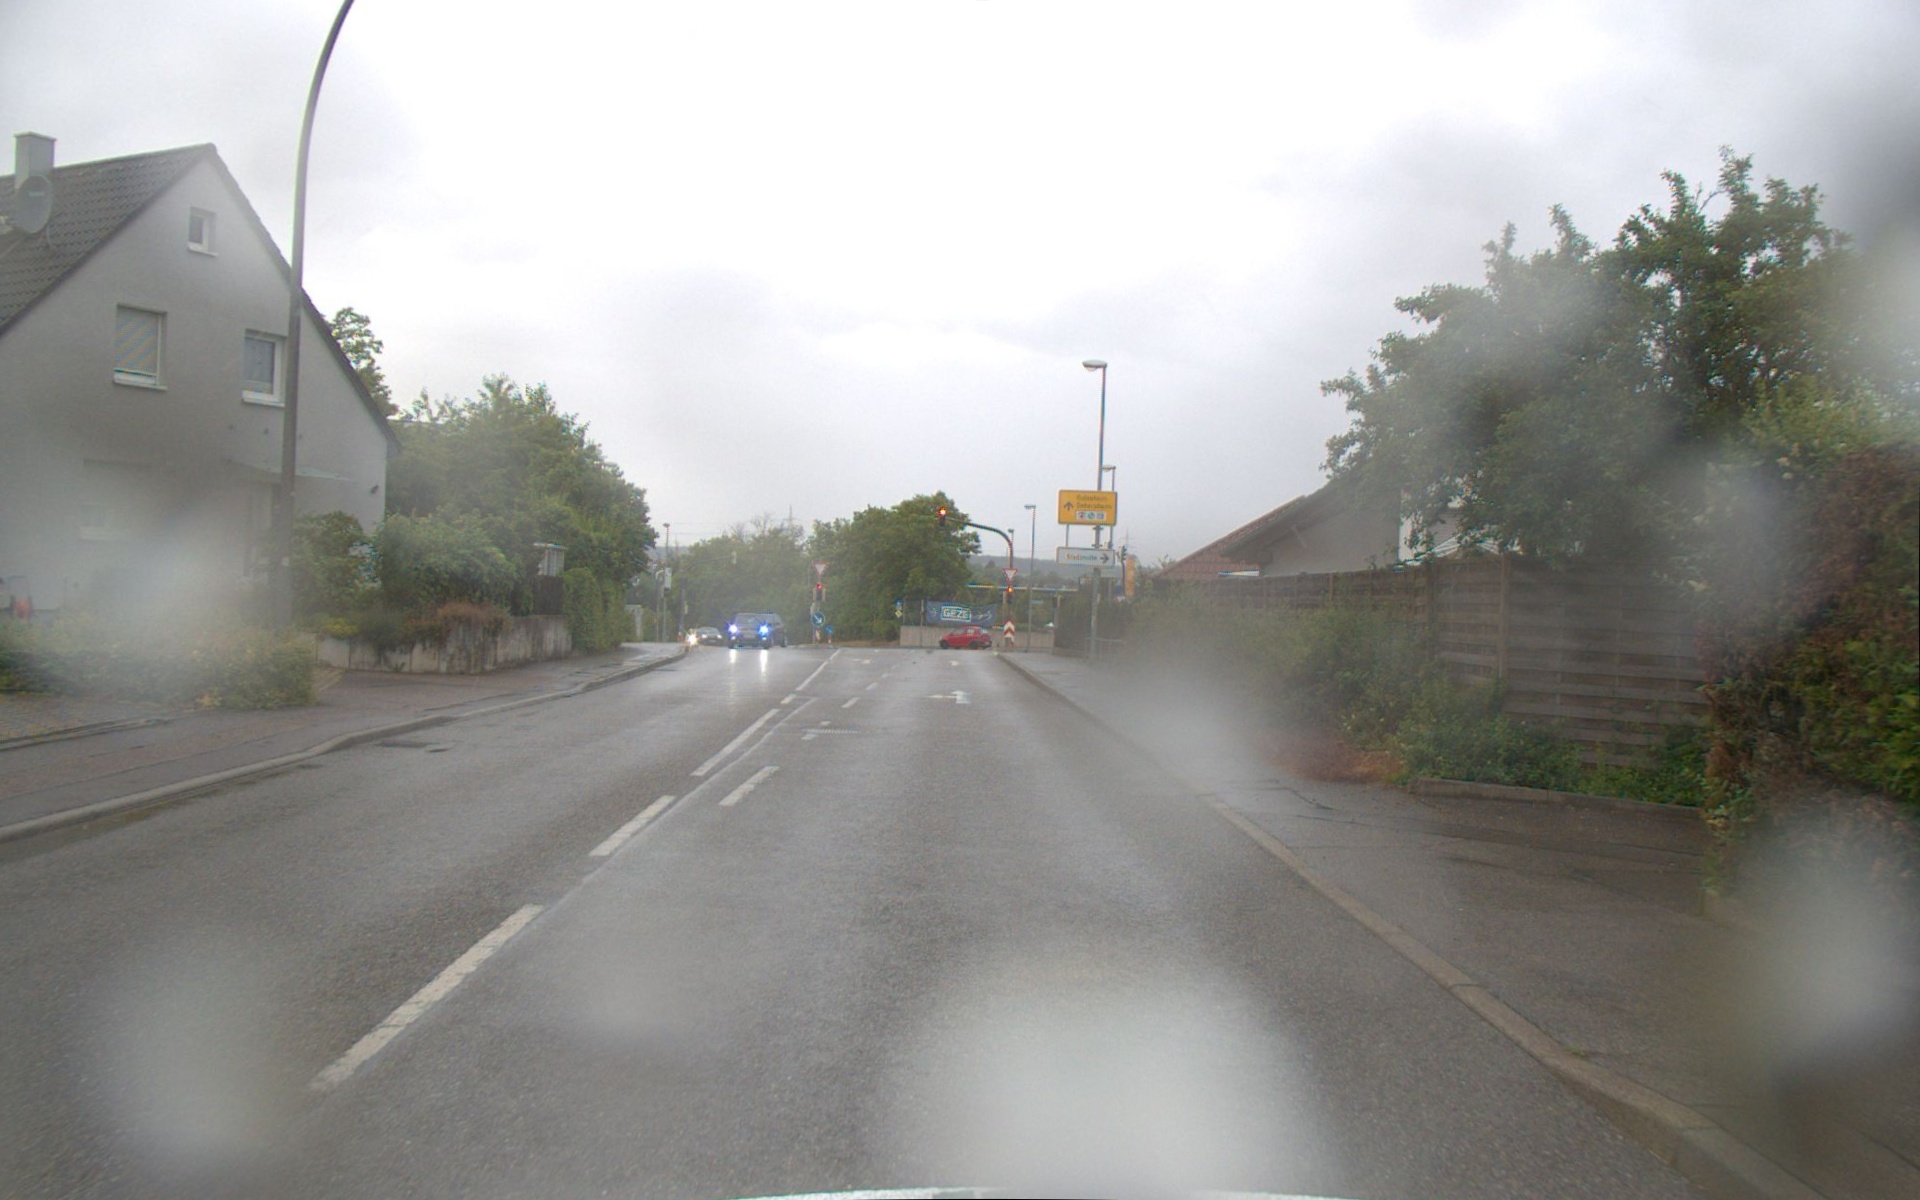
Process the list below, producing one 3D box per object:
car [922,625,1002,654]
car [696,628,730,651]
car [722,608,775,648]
[{"bbox_3d":[0.131,2.573,108.085,4.656,1.720,2.299,-2,0,33],"label":"car"},{"bbox_3d":[-18.127,2.879,121.108,1.961,1.489,3.983,0,0,-16],"label":"car"},{"bbox_3d":[-8.724,1.139,68.460,1.769,1.550,3.998,2,0,-3],"label":"car"}]
